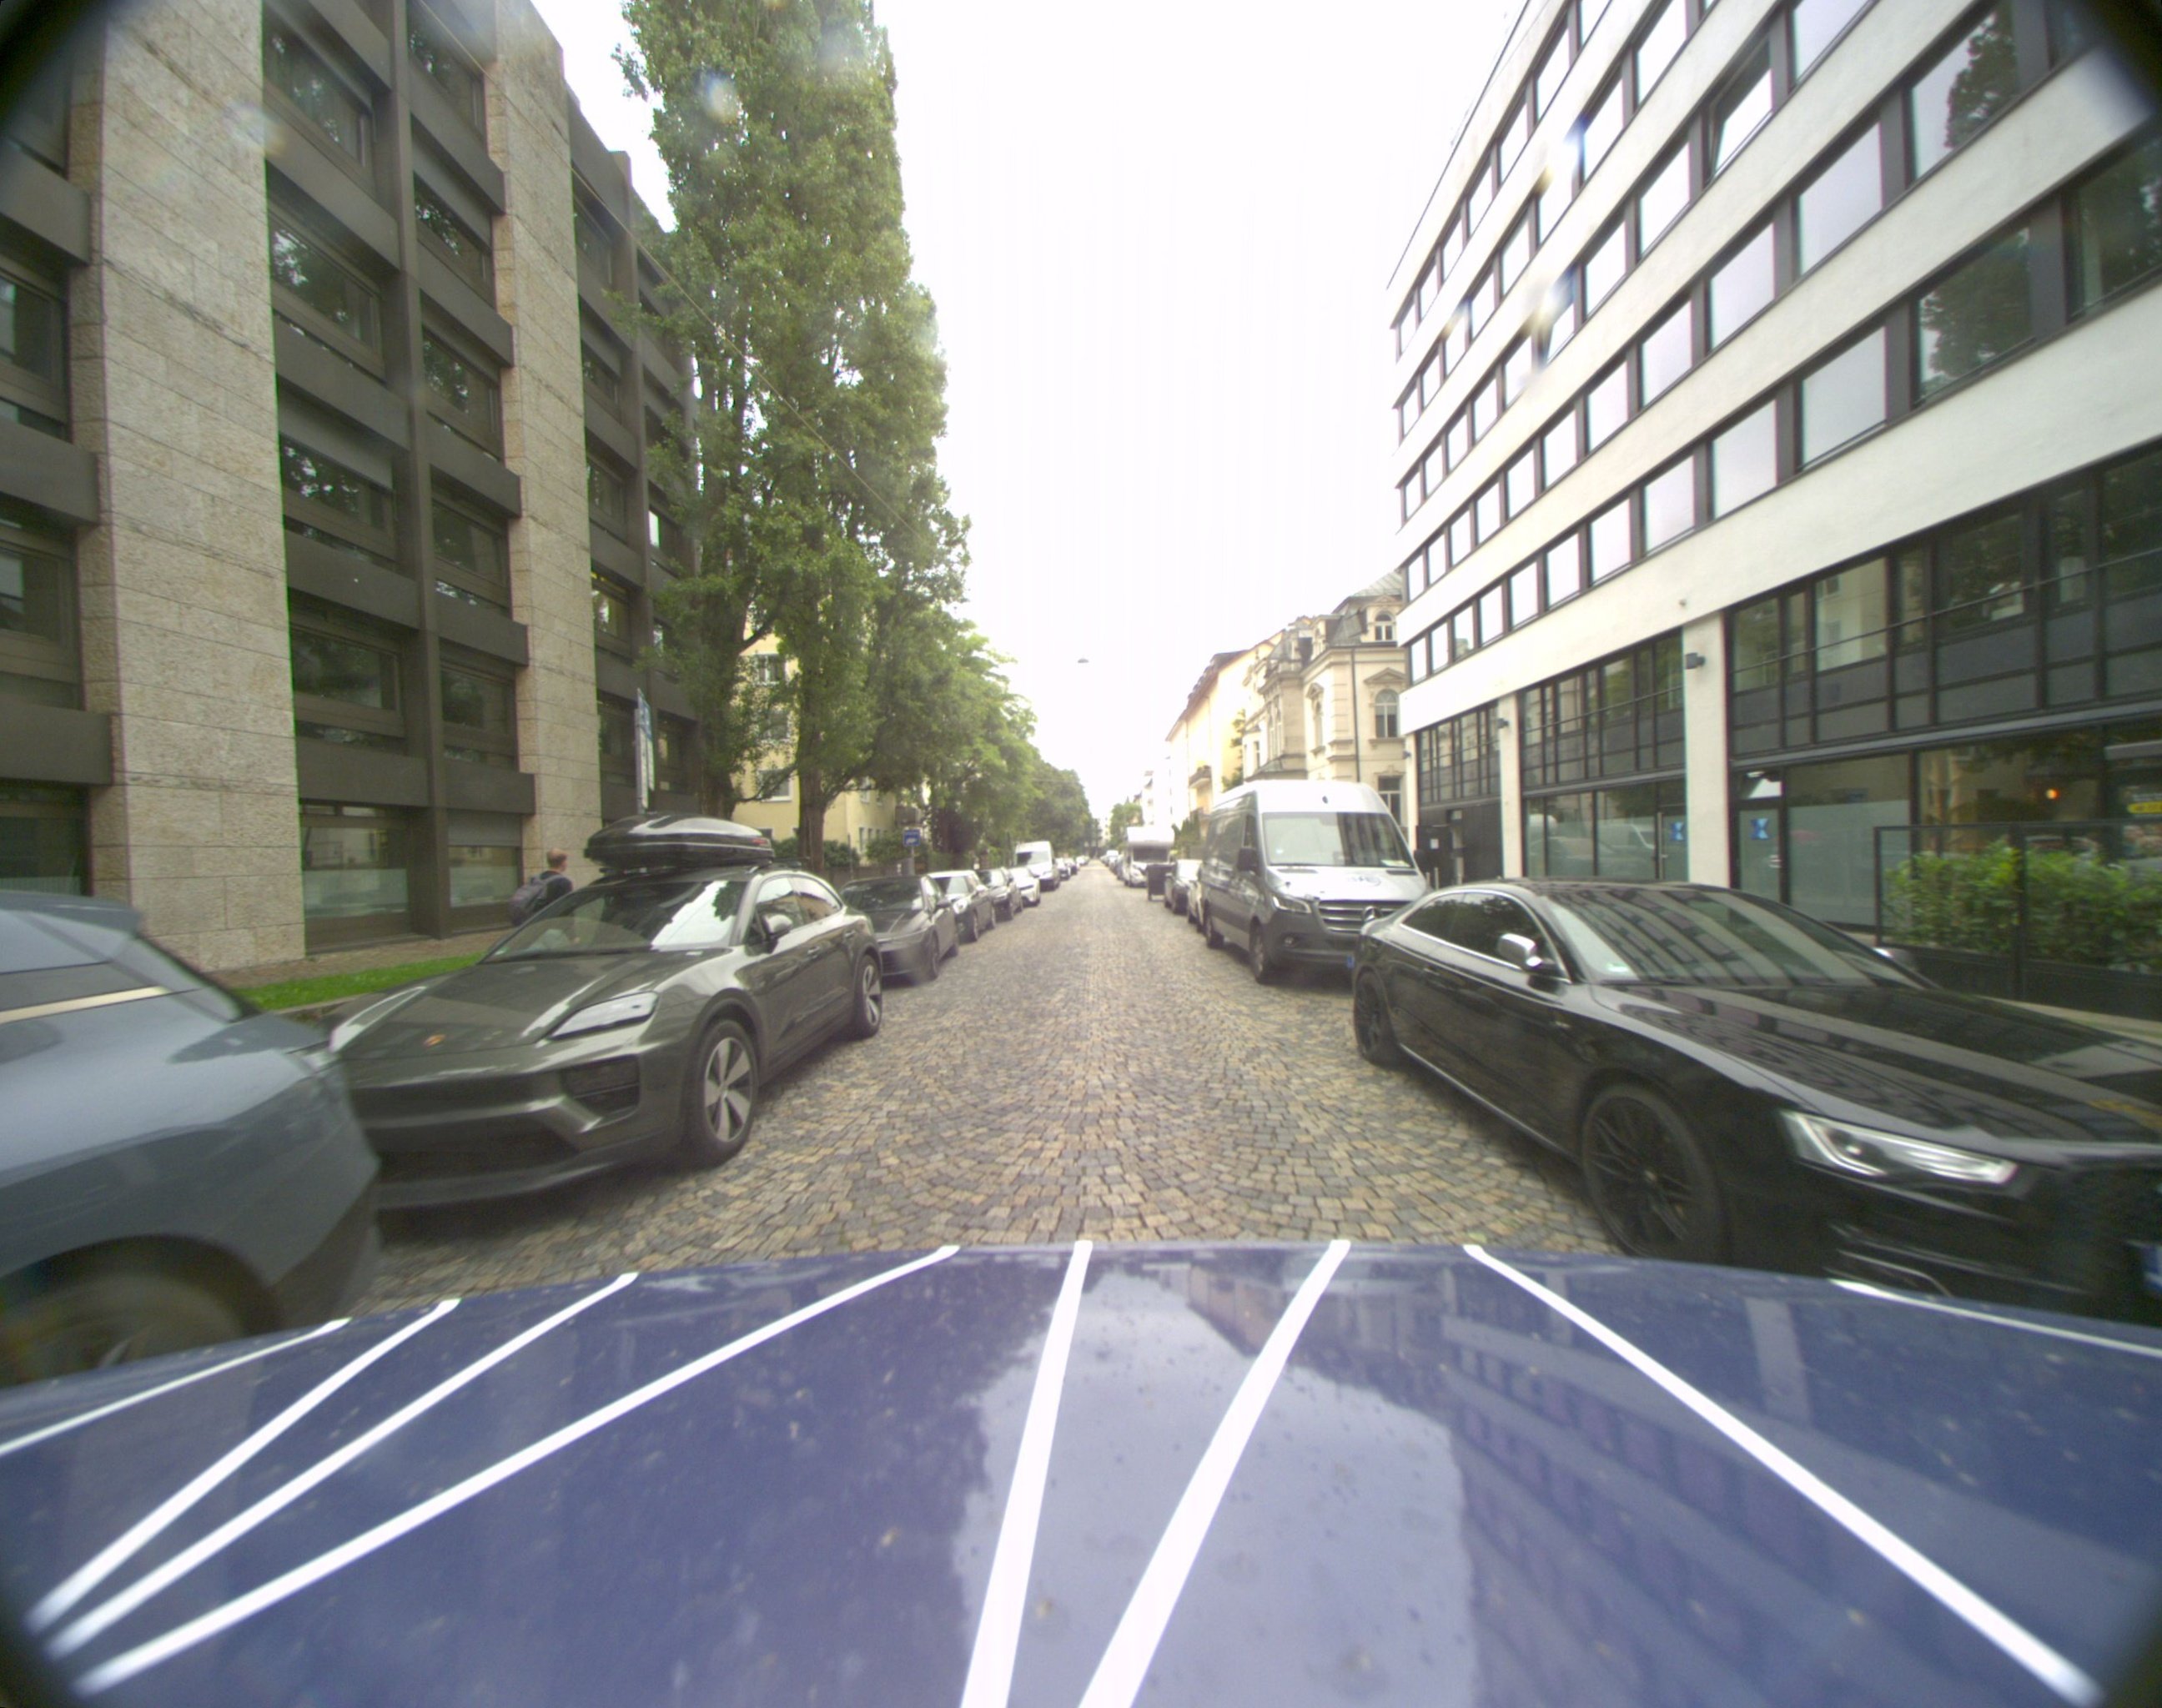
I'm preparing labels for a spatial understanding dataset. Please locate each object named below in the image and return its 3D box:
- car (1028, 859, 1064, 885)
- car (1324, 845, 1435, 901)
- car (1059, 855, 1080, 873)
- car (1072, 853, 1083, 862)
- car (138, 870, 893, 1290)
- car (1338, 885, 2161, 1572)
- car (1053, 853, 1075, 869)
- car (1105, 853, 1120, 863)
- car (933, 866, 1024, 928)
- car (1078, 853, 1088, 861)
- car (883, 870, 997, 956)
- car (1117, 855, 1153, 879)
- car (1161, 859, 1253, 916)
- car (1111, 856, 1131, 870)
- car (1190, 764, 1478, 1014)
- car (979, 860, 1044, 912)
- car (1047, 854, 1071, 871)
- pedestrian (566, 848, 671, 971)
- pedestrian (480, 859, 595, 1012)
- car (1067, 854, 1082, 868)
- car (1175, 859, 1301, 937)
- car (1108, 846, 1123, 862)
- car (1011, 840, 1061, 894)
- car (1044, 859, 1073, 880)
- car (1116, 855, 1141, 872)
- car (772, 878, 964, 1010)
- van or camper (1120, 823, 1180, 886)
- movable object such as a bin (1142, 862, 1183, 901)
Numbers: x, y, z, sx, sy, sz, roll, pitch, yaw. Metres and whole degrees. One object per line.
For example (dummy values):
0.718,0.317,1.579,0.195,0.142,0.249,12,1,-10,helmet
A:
-2.071,1.043,45.901,1.999,1.379,3.873,-3,0,-1,car
9.223,0.541,23.858,1.912,1.523,4.170,-2,0,2,car
-1.211,1.027,78.166,1.999,1.680,3.873,-3,0,-1,car
-0.728,0.763,153.217,1.999,1.680,3.873,-3,0,-1,car
-2.910,0.998,5.368,1.998,1.573,4.342,-3,0,0,car
2.960,0.943,3.777,1.998,1.322,4.116,-2,0,1,car
-1.606,0.662,73.398,1.999,1.379,3.873,-2,0,-1,car
4.722,0.567,113.682,1.999,1.401,3.872,0,1,-1,car
-2.744,1.123,21.228,1.999,1.379,3.873,-3,0,-1,car
0.374,0.642,165.296,1.999,1.680,3.873,-3,0,-1,car
-2.857,1.155,16.130,1.604,1.422,3.562,-4,0,1,car
3.639,0.865,51.990,1.999,1.379,3.873,-3,0,-1,car
3.460,0.873,21.607,1.998,1.380,4.000,-2,0,1,car
4.639,1.056,89.064,1.999,1.401,3.873,-3,0,-1,car
2.984,0.342,10.629,2.064,2.476,5.848,-2,0,0,car
-2.332,1.048,26.418,1.867,1.490,3.873,-3,0,-1,car
-1.901,0.747,66.428,1.999,1.379,3.873,-2,0,-1,car
-6.788,0.785,11.185,0.867,1.704,0.913,-2,1,21,pedestrian
-5.761,0.832,8.098,0.645,1.528,0.709,-2,1,-2,pedestrian
-0.919,0.976,104.650,1.999,1.680,3.873,-3,0,-1,car
3.332,0.882,16.921,1.998,1.422,4.000,-2,0,1,car
5.635,0.009,124.819,2.088,2.418,5.610,-3,0,0,car
-2.197,0.600,38.977,2.088,2.418,5.610,-3,0,0,car
-1.681,1.127,57.464,1.999,1.379,3.873,-3,0,-1,car
4.335,0.844,69.927,1.999,1.401,3.873,-2,0,-1,car
-2.861,1.139,11.185,1.724,1.382,4.204,-2,0,-2,car
3.584,0.014,40.974,2.464,3.029,7.317,-2,0,0,van or camper
2.886,0.957,27.089,1.255,1.290,1.174,-2,1,-3,movable object such as a bin
